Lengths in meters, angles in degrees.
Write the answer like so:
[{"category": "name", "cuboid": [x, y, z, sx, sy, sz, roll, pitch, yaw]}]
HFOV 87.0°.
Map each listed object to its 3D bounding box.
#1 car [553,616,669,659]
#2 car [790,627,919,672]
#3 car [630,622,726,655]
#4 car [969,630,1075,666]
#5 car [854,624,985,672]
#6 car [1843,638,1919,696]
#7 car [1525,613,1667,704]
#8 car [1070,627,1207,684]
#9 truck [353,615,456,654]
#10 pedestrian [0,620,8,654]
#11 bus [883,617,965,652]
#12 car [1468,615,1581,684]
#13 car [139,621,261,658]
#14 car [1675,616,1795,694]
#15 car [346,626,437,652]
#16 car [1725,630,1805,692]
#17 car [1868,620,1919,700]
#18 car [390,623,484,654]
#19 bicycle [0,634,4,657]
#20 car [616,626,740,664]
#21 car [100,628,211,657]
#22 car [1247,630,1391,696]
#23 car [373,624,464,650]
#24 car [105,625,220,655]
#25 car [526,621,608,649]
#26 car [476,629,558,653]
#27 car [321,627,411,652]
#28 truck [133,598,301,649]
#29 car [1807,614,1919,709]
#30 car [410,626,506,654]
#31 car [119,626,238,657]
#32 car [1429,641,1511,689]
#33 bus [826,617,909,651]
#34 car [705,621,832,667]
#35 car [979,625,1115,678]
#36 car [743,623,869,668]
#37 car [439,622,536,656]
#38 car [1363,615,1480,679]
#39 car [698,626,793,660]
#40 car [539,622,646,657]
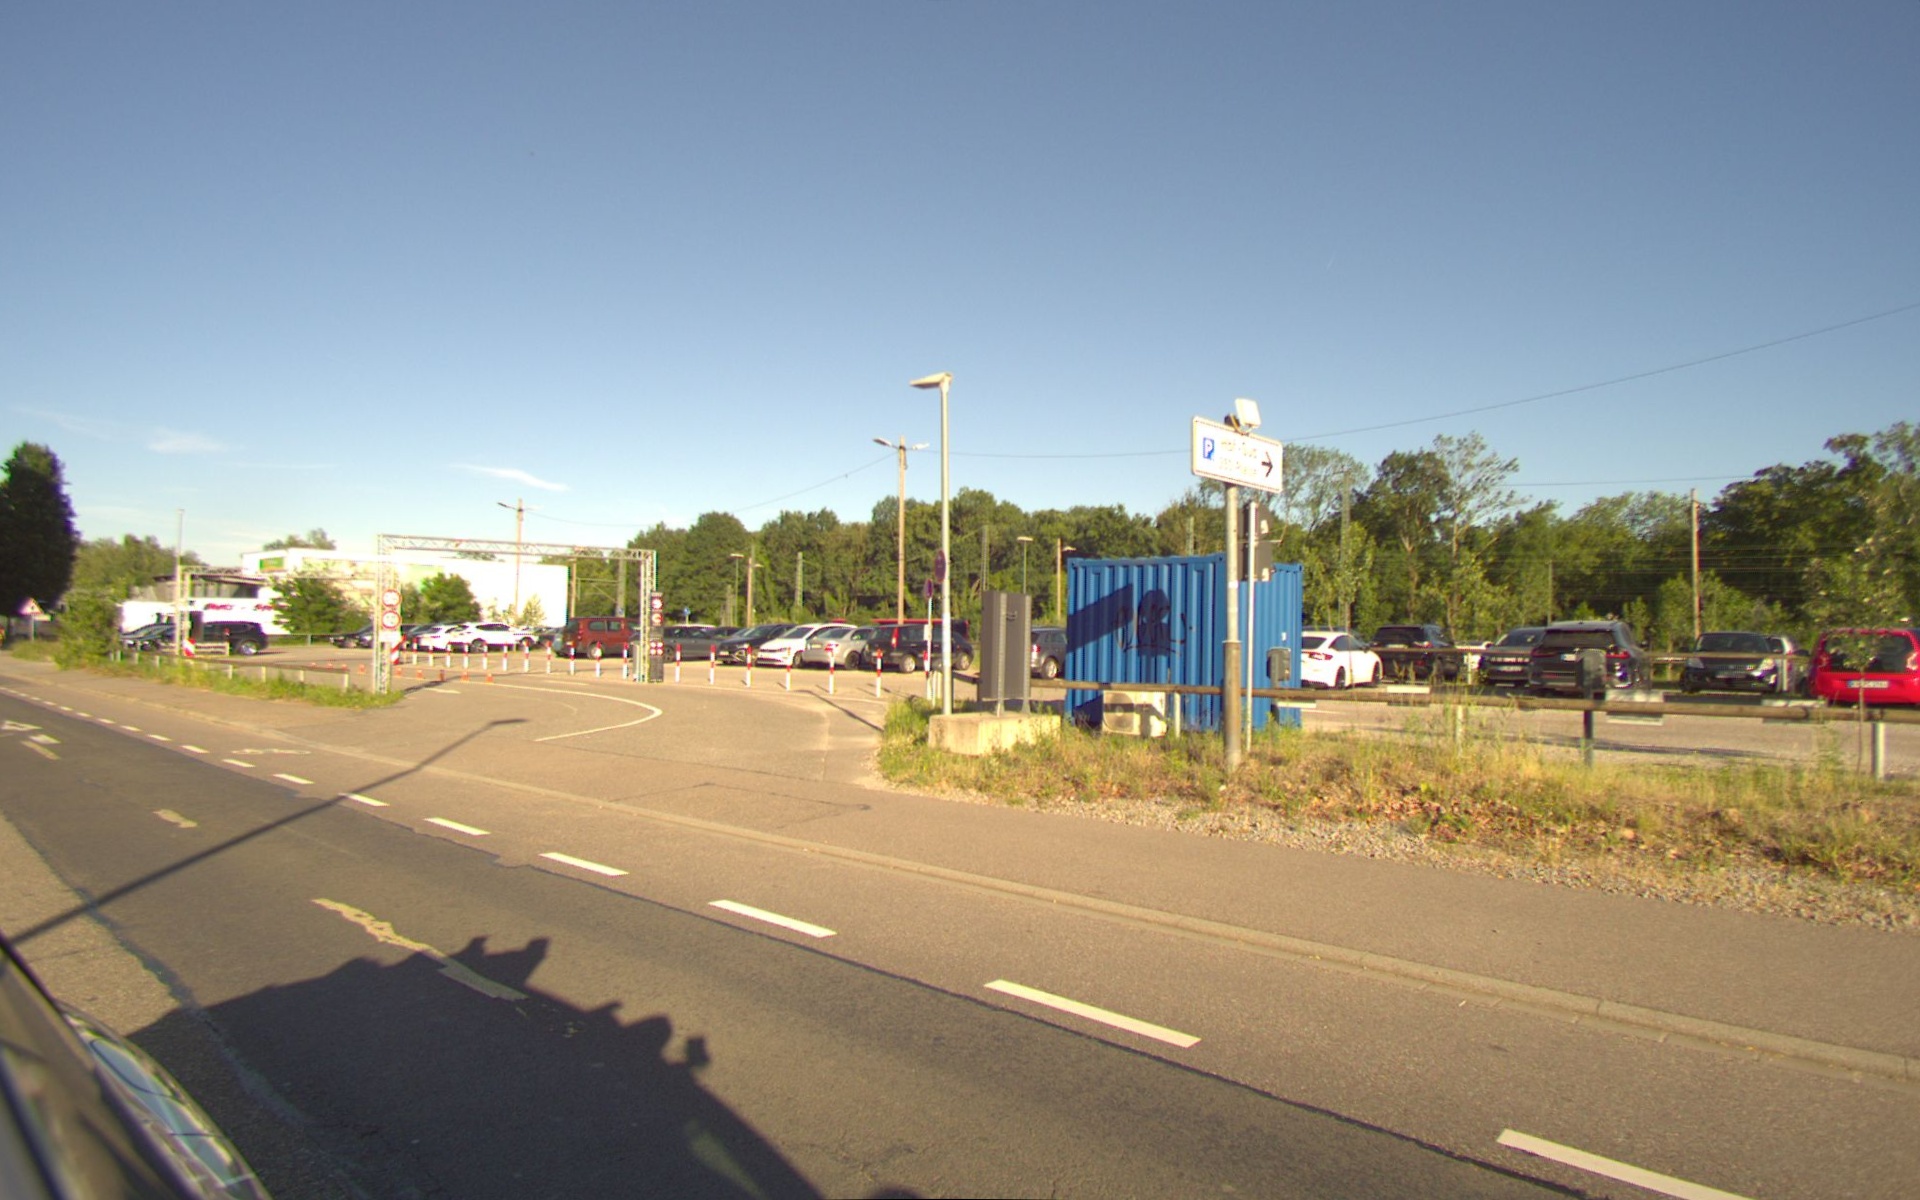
[{"category": "car", "cuboid": [-15.405, 1.647, 44.843, 1.856, 1.819, 4.528, -2, -2, 41]}, {"category": "car", "cuboid": [-3.525, 1.632, 34.416, 1.877, 1.404, 4.276, -2, -2, 41]}, {"category": "car", "cuboid": [-14.111, 1.898, 50.811, 1.856, 1.557, 4.321, -2, -2, 41]}, {"category": "car", "cuboid": [2.270, 1.671, 36.230, 1.877, 1.197, 3.842, -2, -2, 41]}, {"category": "car", "cuboid": [-1.264, 1.534, 33.138, 1.877, 1.474, 4.276, -2, -2, 41]}, {"category": "car", "cuboid": [26.611, 1.876, 29.120, 1.753, 1.506, 3.683, -2, -2, 41]}, {"category": "car", "cuboid": [12.759, 1.104, 20.200, 1.877, 1.616, 3.843, -2, -2, 40]}, {"category": "car", "cuboid": [5.010, 1.481, 28.021, 1.877, 1.430, 4.278, -2, -2, 40]}, {"category": "truck", "cuboid": [-42.247, 2.633, 77.072, 2.314, 2.829, 6.430, -1, -3, 39]}, {"category": "pedestrian", "cuboid": [-48.848, 1.859, 51.276, 1.057, 1.734, 0.713, -1, -3, 41]}, {"category": "bus", "cuboid": [-2.534, 2.401, 70.317, 5.588, 2.366, 2.512, -1, -3, 42]}, {"category": "car", "cuboid": [14.451, 1.218, 25.821, 1.805, 1.616, 3.843, -2, -2, 40]}, {"category": "car", "cuboid": [-36.657, 1.898, 48.916, 2.048, 1.683, 4.381, -1, -2, 42]}, {"category": "car", "cuboid": [17.754, 1.203, 23.131, 1.878, 1.616, 3.841, -2, -2, 42]}, {"category": "car", "cuboid": [-34.482, 2.348, 61.471, 2.045, 1.476, 4.361, -1, -2, 37]}, {"category": "car", "cuboid": [24.746, 1.815, 31.071, 1.753, 1.784, 3.683, -2, -2, 41]}, {"category": "car", "cuboid": [20.066, 1.186, 20.816, 1.877, 1.531, 3.843, -2, -2, 40]}, {"category": "car", "cuboid": [-28.658, 2.108, 55.572, 2.045, 1.590, 4.121, -1, -2, 37]}, {"category": "bicycle", "cuboid": [-48.879, 2.298, 51.253, 1.868, 1.157, 0.465, -1, -1, 41]}, {"category": "car", "cuboid": [-11.468, 1.799, 41.403, 1.991, 1.492, 4.525, -2, -2, 44]}, {"category": "car", "cuboid": [-43.359, 2.268, 54.610, 2.048, 1.473, 4.381, -1, -2, 42]}, {"category": "car", "cuboid": [8.614, 1.432, 24.084, 1.877, 1.387, 4.278, -2, -2, 40]}, {"category": "car", "cuboid": [-30.832, 2.116, 57.710, 2.045, 1.408, 4.121, -1, -2, 37]}, {"category": "car", "cuboid": [-41.116, 2.043, 52.255, 2.048, 1.473, 4.381, -1, -2, 42]}, {"category": "car", "cuboid": [-22.548, 1.996, 58.158, 1.911, 1.561, 3.949, -1, -2, 38]}, {"category": "car", "cuboid": [-27.149, 2.515, 62.082, 2.045, 1.408, 4.121, -1, -2, 37]}, {"category": "car", "cuboid": [-36.865, 2.443, 62.882, 2.045, 1.476, 4.361, -1, -2, 37]}, {"category": "truck", "cuboid": [-56.731, 1.787, 77.574, 2.773, 3.642, 9.996, 0, -1, 40]}, {"category": "car", "cuboid": [16.340, 1.038, 18.022, 1.877, 1.531, 3.843, -2, -2, 40]}, {"category": "car", "cuboid": [-26.761, 2.111, 54.032, 2.045, 1.408, 4.121, -1, -2, 37]}, {"category": "car", "cuboid": [-39.069, 2.047, 50.665, 2.048, 1.473, 4.381, -1, -2, 42]}, {"category": "car", "cuboid": [18.320, 2.284, 36.278, 1.753, 1.565, 3.683, -2, -2, 41]}, {"category": "bus", "cuboid": [-6.834, 2.476, 74.312, 6.204, 2.366, 2.512, -1, -3, 42]}, {"category": "car", "cuboid": [-7.095, 1.613, 37.855, 1.856, 1.597, 4.528, -2, -2, 41]}, {"category": "car", "cuboid": [2.621, 1.453, 29.652, 1.877, 1.430, 4.278, -2, -2, 40]}, {"category": "car", "cuboid": [-5.461, 1.597, 36.347, 1.877, 1.535, 4.276, -2, -2, 41]}, {"category": "car", "cuboid": [-24.589, 2.023, 52.741, 1.964, 1.674, 4.120, -1, -2, 38]}, {"category": "car", "cuboid": [12.571, 1.239, 27.475, 1.877, 1.616, 3.842, -2, -2, 41]}, {"category": "car", "cuboid": [-9.842, 1.962, 46.645, 1.893, 1.477, 3.947, -2, -2, 39]}, {"category": "car", "cuboid": [-17.027, 1.814, 47.064, 1.856, 1.557, 4.321, -2, -2, 41]}]
